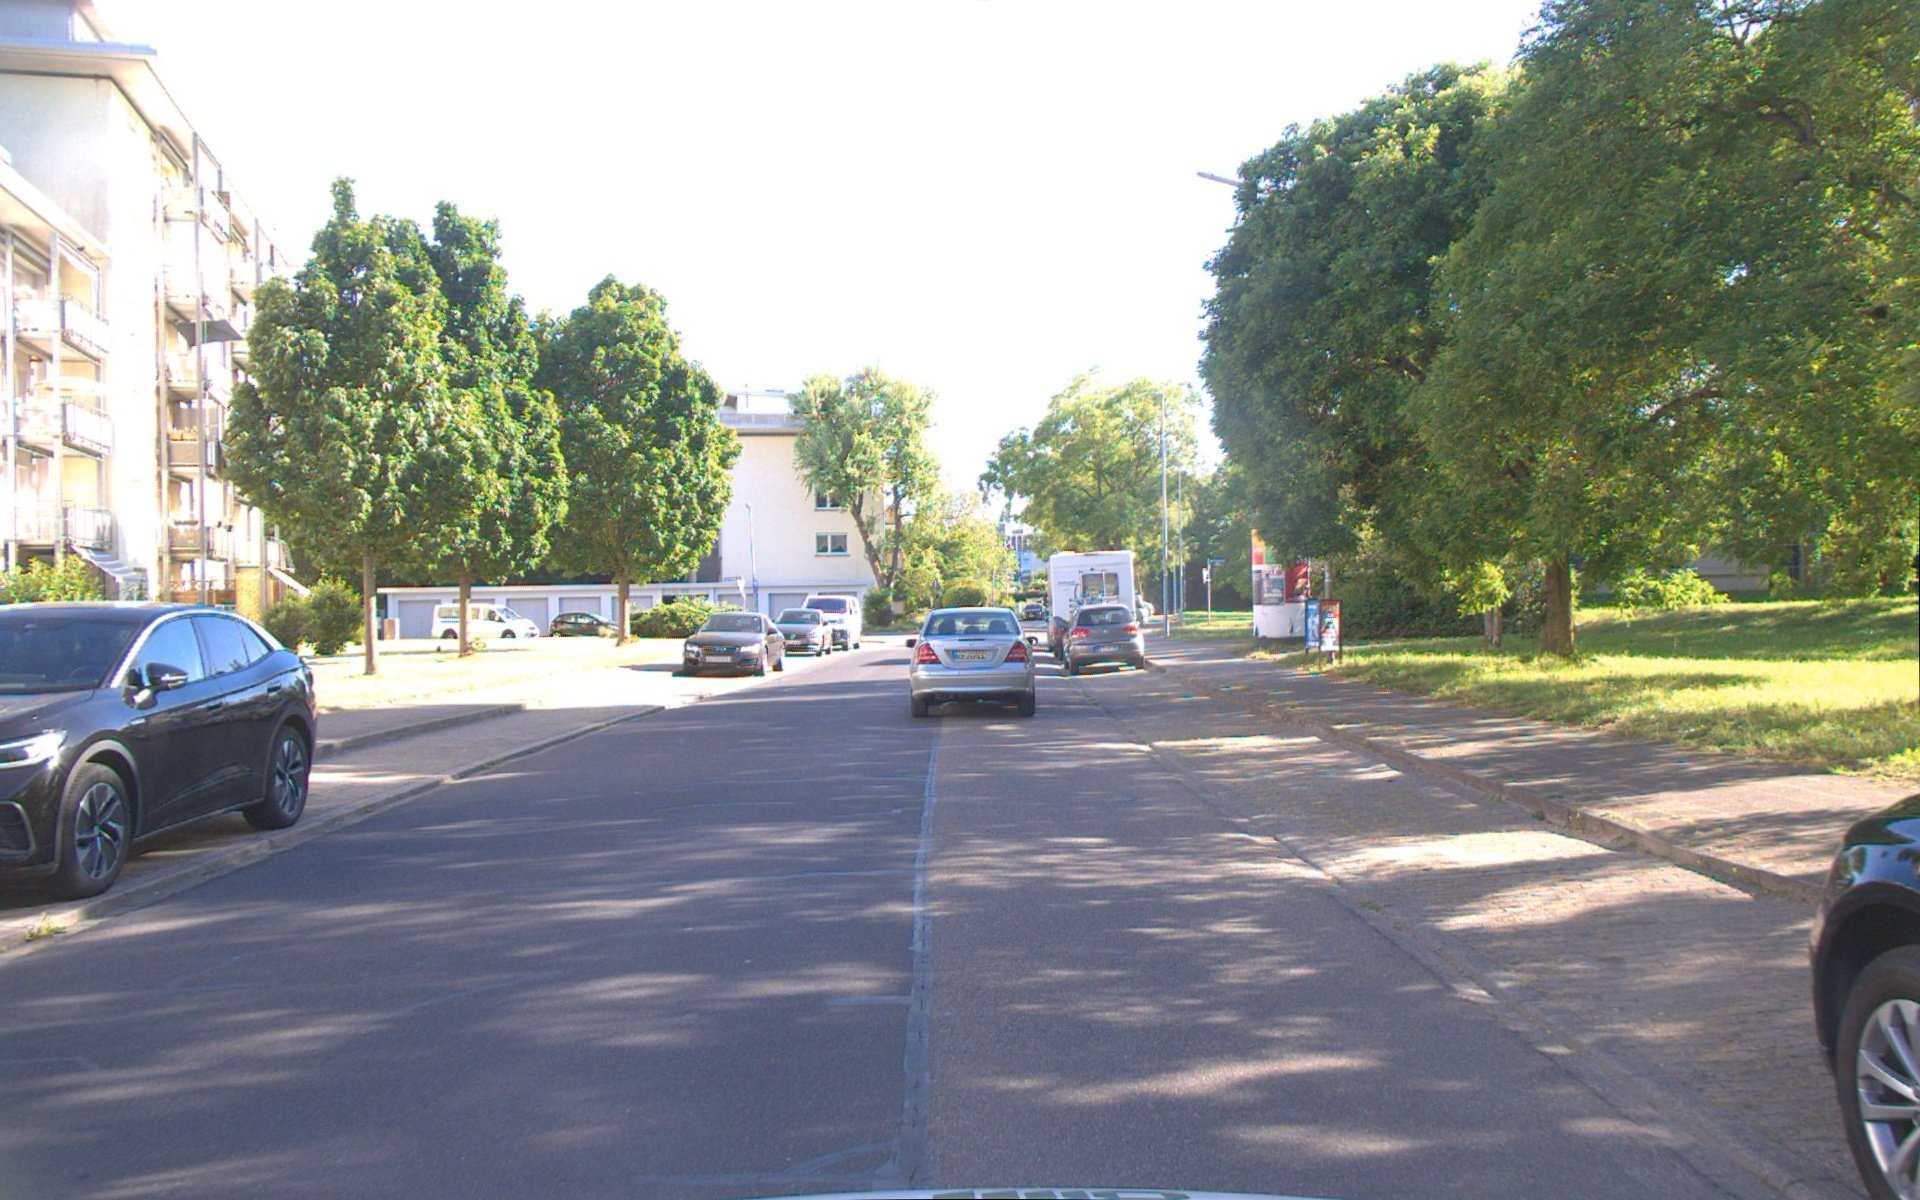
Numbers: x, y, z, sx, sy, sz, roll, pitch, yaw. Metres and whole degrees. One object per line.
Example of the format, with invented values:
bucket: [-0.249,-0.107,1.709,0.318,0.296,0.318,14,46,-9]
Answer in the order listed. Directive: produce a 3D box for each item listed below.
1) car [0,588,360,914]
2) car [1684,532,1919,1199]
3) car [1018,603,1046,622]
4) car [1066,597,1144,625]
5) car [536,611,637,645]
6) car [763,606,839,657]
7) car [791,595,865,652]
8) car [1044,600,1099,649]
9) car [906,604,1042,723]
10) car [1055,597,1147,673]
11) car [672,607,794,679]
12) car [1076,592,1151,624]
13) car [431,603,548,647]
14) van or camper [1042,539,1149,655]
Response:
car: [-5.636,0.801,10.692,1.876,1.632,4.810,-2,0,-2]
car: [3.219,0.625,2.537,1.954,1.669,4.533,-3,0,-3]
car: [6.293,1.055,143.784,1.872,1.516,3.840,-4,-1,10]
car: [8.826,0.685,100.711,4.681,1.576,2.013,-1,0,4]
car: [-18.236,1.355,80.870,4.347,1.486,2.045,-2,0,9]
car: [-4.965,0.976,52.298,1.795,1.544,4.223,0,0,3]
car: [-4.634,0.826,58.805,1.972,1.919,5.192,0,0,3]
car: [3.666,0.790,54.714,1.656,1.500,4.001,-2,0,2]
car: [0.248,0.830,22.719,1.697,1.459,3.439,-2,-1,2]
car: [3.248,0.762,38.752,1.685,1.551,4.428,-4,0,0]
car: [-5.292,0.967,39.249,1.992,1.519,5.257,-1,0,2]
car: [10.241,0.505,110.715,4.784,1.957,2.000,-2,0,0]
car: [-23.230,1.232,81.731,4.996,1.985,2.239,-2,0,10]
van or camper: [3.646,-0.088,45.862,2.445,2.895,6.852,-2,0,1]
